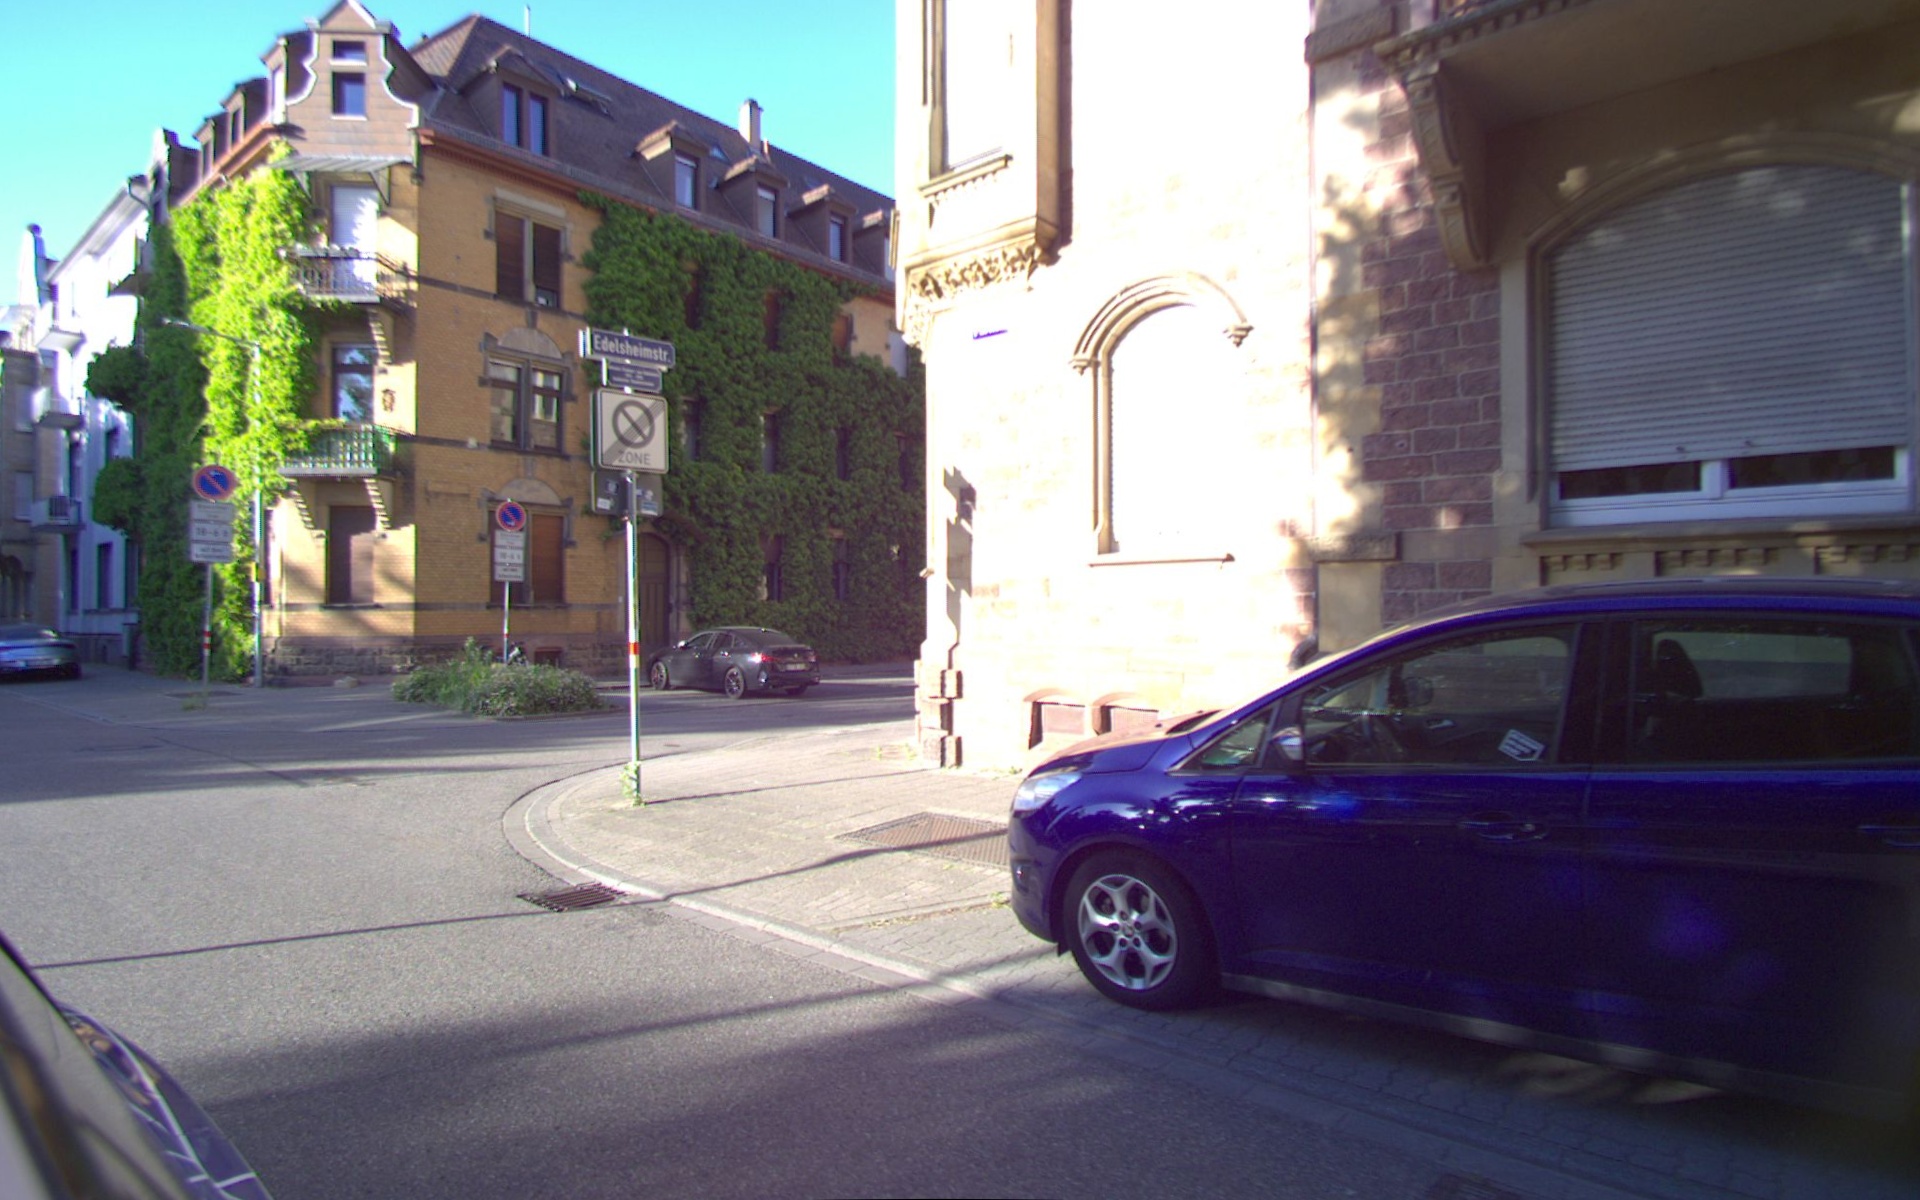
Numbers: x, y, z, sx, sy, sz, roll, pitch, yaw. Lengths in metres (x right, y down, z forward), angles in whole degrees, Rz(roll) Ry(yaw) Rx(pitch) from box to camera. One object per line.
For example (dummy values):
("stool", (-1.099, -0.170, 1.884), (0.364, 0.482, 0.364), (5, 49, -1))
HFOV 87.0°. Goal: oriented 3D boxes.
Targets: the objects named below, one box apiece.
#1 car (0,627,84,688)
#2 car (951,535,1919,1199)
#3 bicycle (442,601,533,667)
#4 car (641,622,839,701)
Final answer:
("car", (-24.471, 1.445, 26.240), (4.920, 1.415, 1.858), (-2, 0, 39))
("car", (2.167, 0.669, 3.687), (4.252, 1.634, 1.713), (-2, 0, 38))
("bicycle", (-9.513, 0.676, 20.411), (1.578, 1.278, 0.565), (0, -2, -41))
("car", (-4.765, 1.233, 21.652), (4.254, 1.446, 1.973), (0, -1, 41))
